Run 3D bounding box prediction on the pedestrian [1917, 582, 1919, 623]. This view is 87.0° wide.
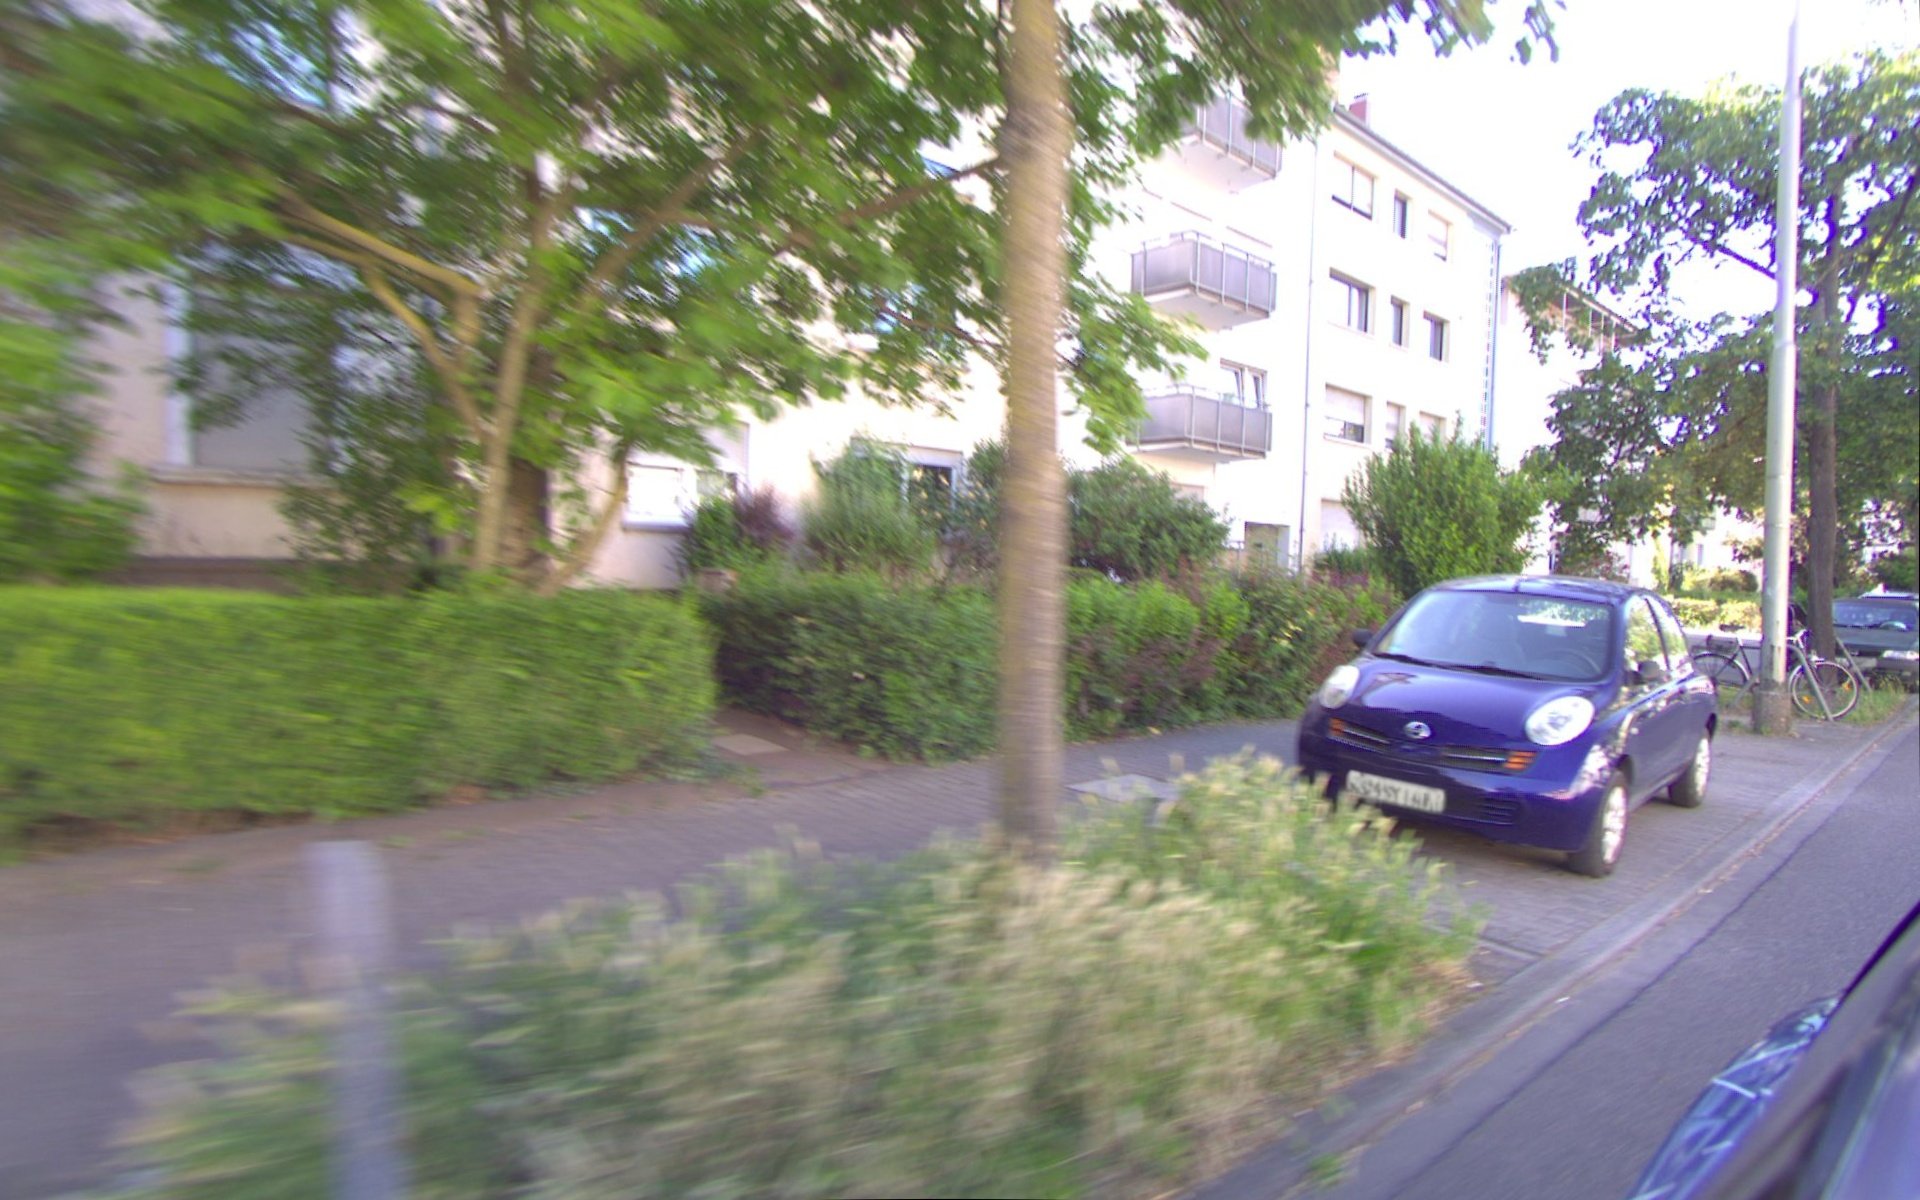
[{"bbox_3d":[37.706,0.072,39.280,0.762,1.702,0.671,0,3,-42],"label":"pedestrian"}]

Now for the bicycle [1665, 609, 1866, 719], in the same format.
[{"bbox_3d":[9.556,0.722,12.075,0.514,1.033,1.747,-2,6,-34],"label":"bicycle"}]

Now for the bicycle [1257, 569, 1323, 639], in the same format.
[{"bbox_3d":[6.566,0.066,20.205,0.454,1.237,1.544,3,4,-12],"label":"bicycle"}]

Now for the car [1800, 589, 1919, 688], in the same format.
[{"bbox_3d":[15.267,0.565,16.643,3.907,1.400,1.615,0,3,-42],"label":"car"}]

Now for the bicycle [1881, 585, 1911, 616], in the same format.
[{"bbox_3d":[39.799,0.012,43.028,1.791,1.262,0.699,0,4,-42],"label":"bicycle"}]

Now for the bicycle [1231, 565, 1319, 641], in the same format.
[{"bbox_3d":[5.837,0.049,18.721,1.810,1.302,0.624,0,5,-42],"label":"bicycle"}]

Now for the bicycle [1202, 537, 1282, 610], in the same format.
[{"bbox_3d":[5.385,-0.500,19.289,1.660,1.302,0.593,0,5,-42],"label":"bicycle"}]

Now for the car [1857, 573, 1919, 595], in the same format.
[{"bbox_3d":[78.340,-1.358,85.182,1.800,1.457,3.997,0,6,-42],"label":"car"}]

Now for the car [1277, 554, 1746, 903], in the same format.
[{"bbox_3d":[3.683,0.562,6.480,3.594,1.533,1.562,0,5,-44],"label":"car"}]

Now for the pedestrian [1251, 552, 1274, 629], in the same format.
[{"bbox_3d":[6.983,-0.224,23.351,0.364,1.759,0.360,-1,-1,42],"label":"pedestrian"}]

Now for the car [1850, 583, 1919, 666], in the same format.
[{"bbox_3d":[19.472,0.460,20.540,4.164,1.507,1.716,0,3,-44],"label":"car"}]

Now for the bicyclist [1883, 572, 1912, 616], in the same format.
[{"bbox_3d":[39.783,-0.259,42.944,0.998,1.815,0.725,0,4,-42],"label":"bicyclist"}]

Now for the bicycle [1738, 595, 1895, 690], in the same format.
[{"bbox_3d":[12.274,0.597,14.538,1.641,1.252,0.470,2,2,10],"label":"bicycle"}]

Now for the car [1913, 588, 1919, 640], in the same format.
[{"bbox_3d":[28.763,0.437,28.993,4.075,1.445,1.695,0,3,-41],"label":"car"}]

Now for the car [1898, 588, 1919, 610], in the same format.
[{"bbox_3d":[64.988,-0.084,68.686,3.654,1.372,1.535,0,5,-43],"label":"car"}]

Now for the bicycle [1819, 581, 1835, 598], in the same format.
[{"bbox_3d":[53.057,-0.651,61.941,1.714,1.004,0.456,-2,6,-43],"label":"bicycle"}]
